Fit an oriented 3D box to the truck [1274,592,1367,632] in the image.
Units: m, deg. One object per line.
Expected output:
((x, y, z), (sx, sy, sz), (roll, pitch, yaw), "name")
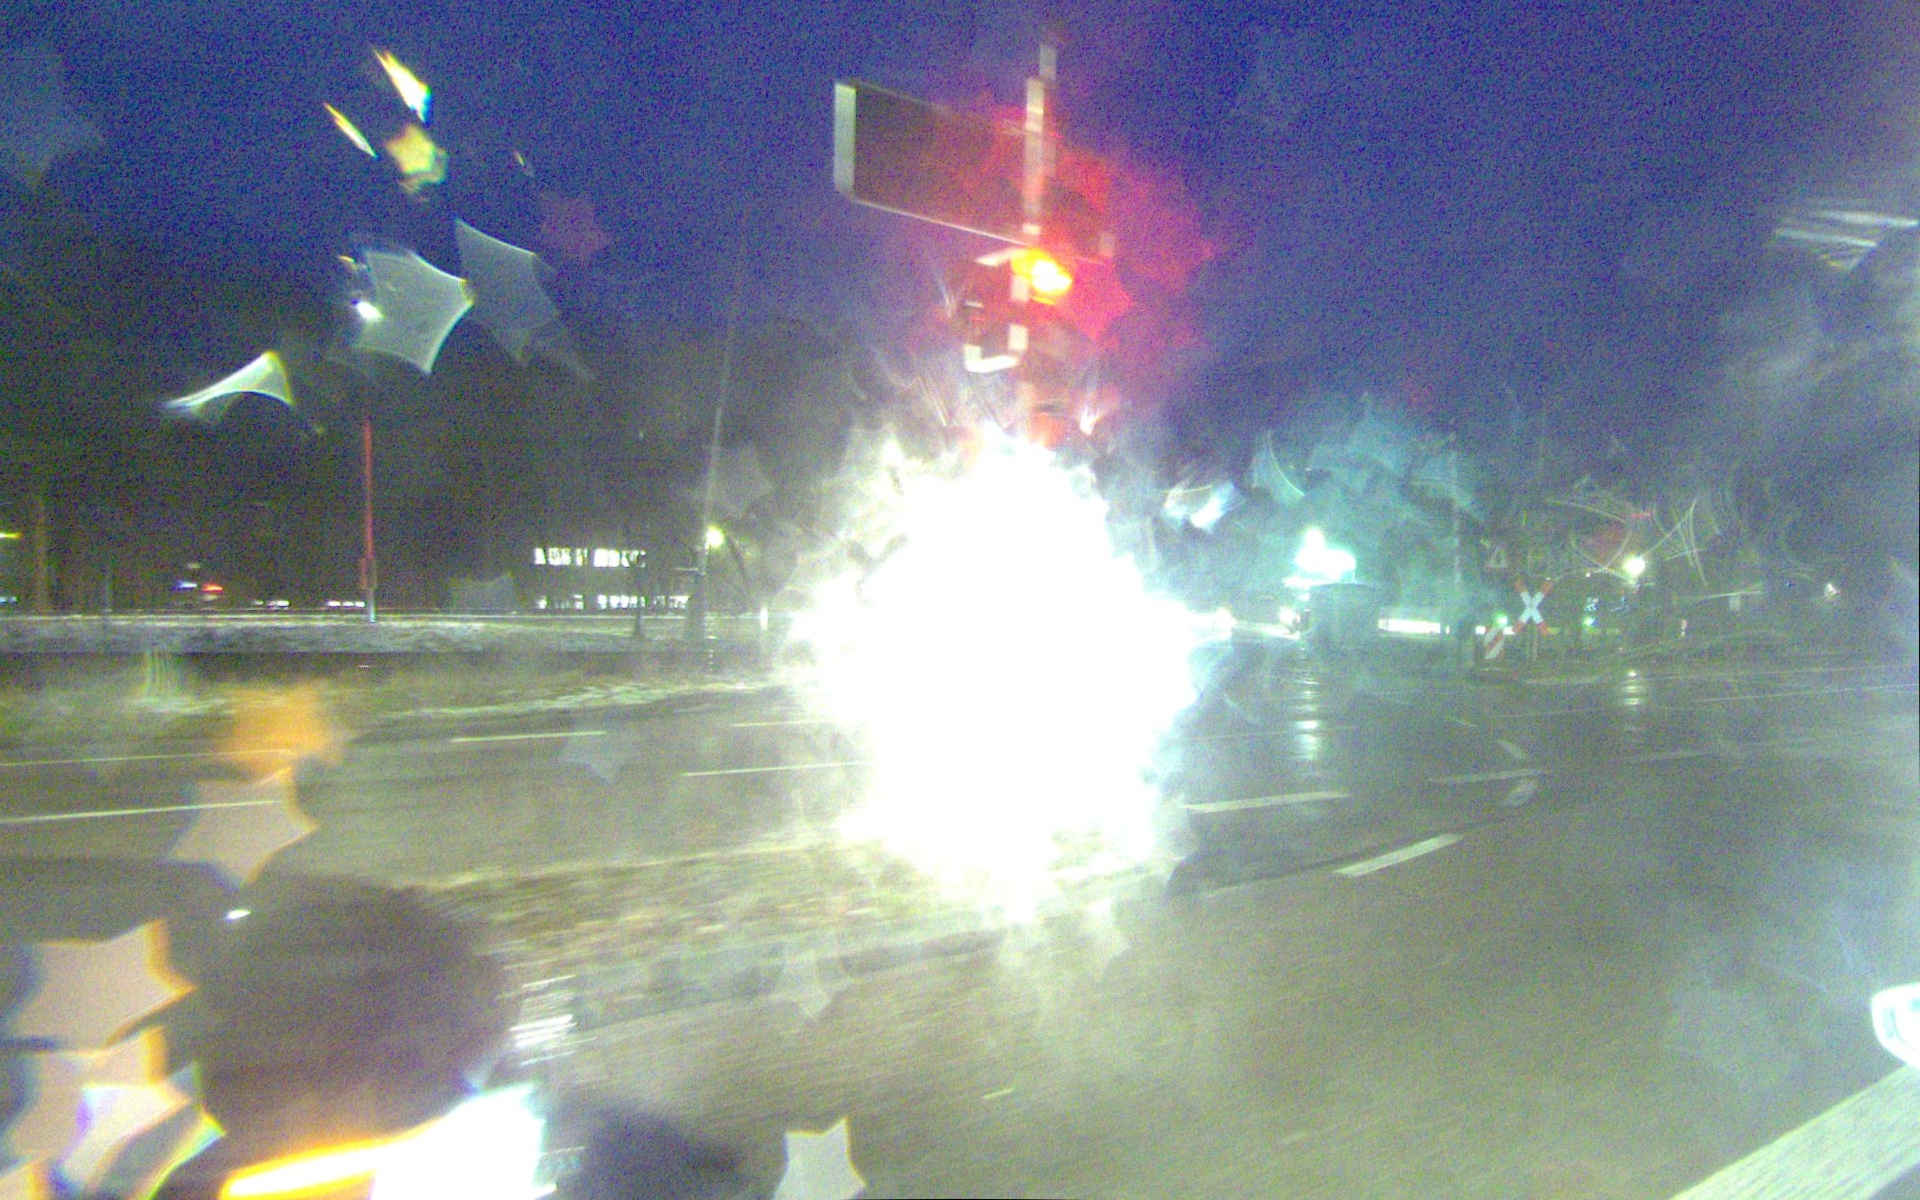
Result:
((22.510, 0.764, 62.652), (5.946, 2.302, 1.985), (1, 1, -29), "truck")

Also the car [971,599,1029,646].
((1.520, 0.775, 36.525), (1.485, 1.538, 4.376), (2, 1, 10), "car")

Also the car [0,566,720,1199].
((-2.687, 0.711, 1.167), (4.381, 1.531, 1.776), (1, -1, -29), "car")

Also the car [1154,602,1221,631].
((13.002, 0.960, 57.267), (3.969, 1.539, 1.706), (1, 1, -41), "car")

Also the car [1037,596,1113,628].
((5.989, 0.618, 51.999), (3.969, 1.539, 1.706), (1, 1, -42), "car")
